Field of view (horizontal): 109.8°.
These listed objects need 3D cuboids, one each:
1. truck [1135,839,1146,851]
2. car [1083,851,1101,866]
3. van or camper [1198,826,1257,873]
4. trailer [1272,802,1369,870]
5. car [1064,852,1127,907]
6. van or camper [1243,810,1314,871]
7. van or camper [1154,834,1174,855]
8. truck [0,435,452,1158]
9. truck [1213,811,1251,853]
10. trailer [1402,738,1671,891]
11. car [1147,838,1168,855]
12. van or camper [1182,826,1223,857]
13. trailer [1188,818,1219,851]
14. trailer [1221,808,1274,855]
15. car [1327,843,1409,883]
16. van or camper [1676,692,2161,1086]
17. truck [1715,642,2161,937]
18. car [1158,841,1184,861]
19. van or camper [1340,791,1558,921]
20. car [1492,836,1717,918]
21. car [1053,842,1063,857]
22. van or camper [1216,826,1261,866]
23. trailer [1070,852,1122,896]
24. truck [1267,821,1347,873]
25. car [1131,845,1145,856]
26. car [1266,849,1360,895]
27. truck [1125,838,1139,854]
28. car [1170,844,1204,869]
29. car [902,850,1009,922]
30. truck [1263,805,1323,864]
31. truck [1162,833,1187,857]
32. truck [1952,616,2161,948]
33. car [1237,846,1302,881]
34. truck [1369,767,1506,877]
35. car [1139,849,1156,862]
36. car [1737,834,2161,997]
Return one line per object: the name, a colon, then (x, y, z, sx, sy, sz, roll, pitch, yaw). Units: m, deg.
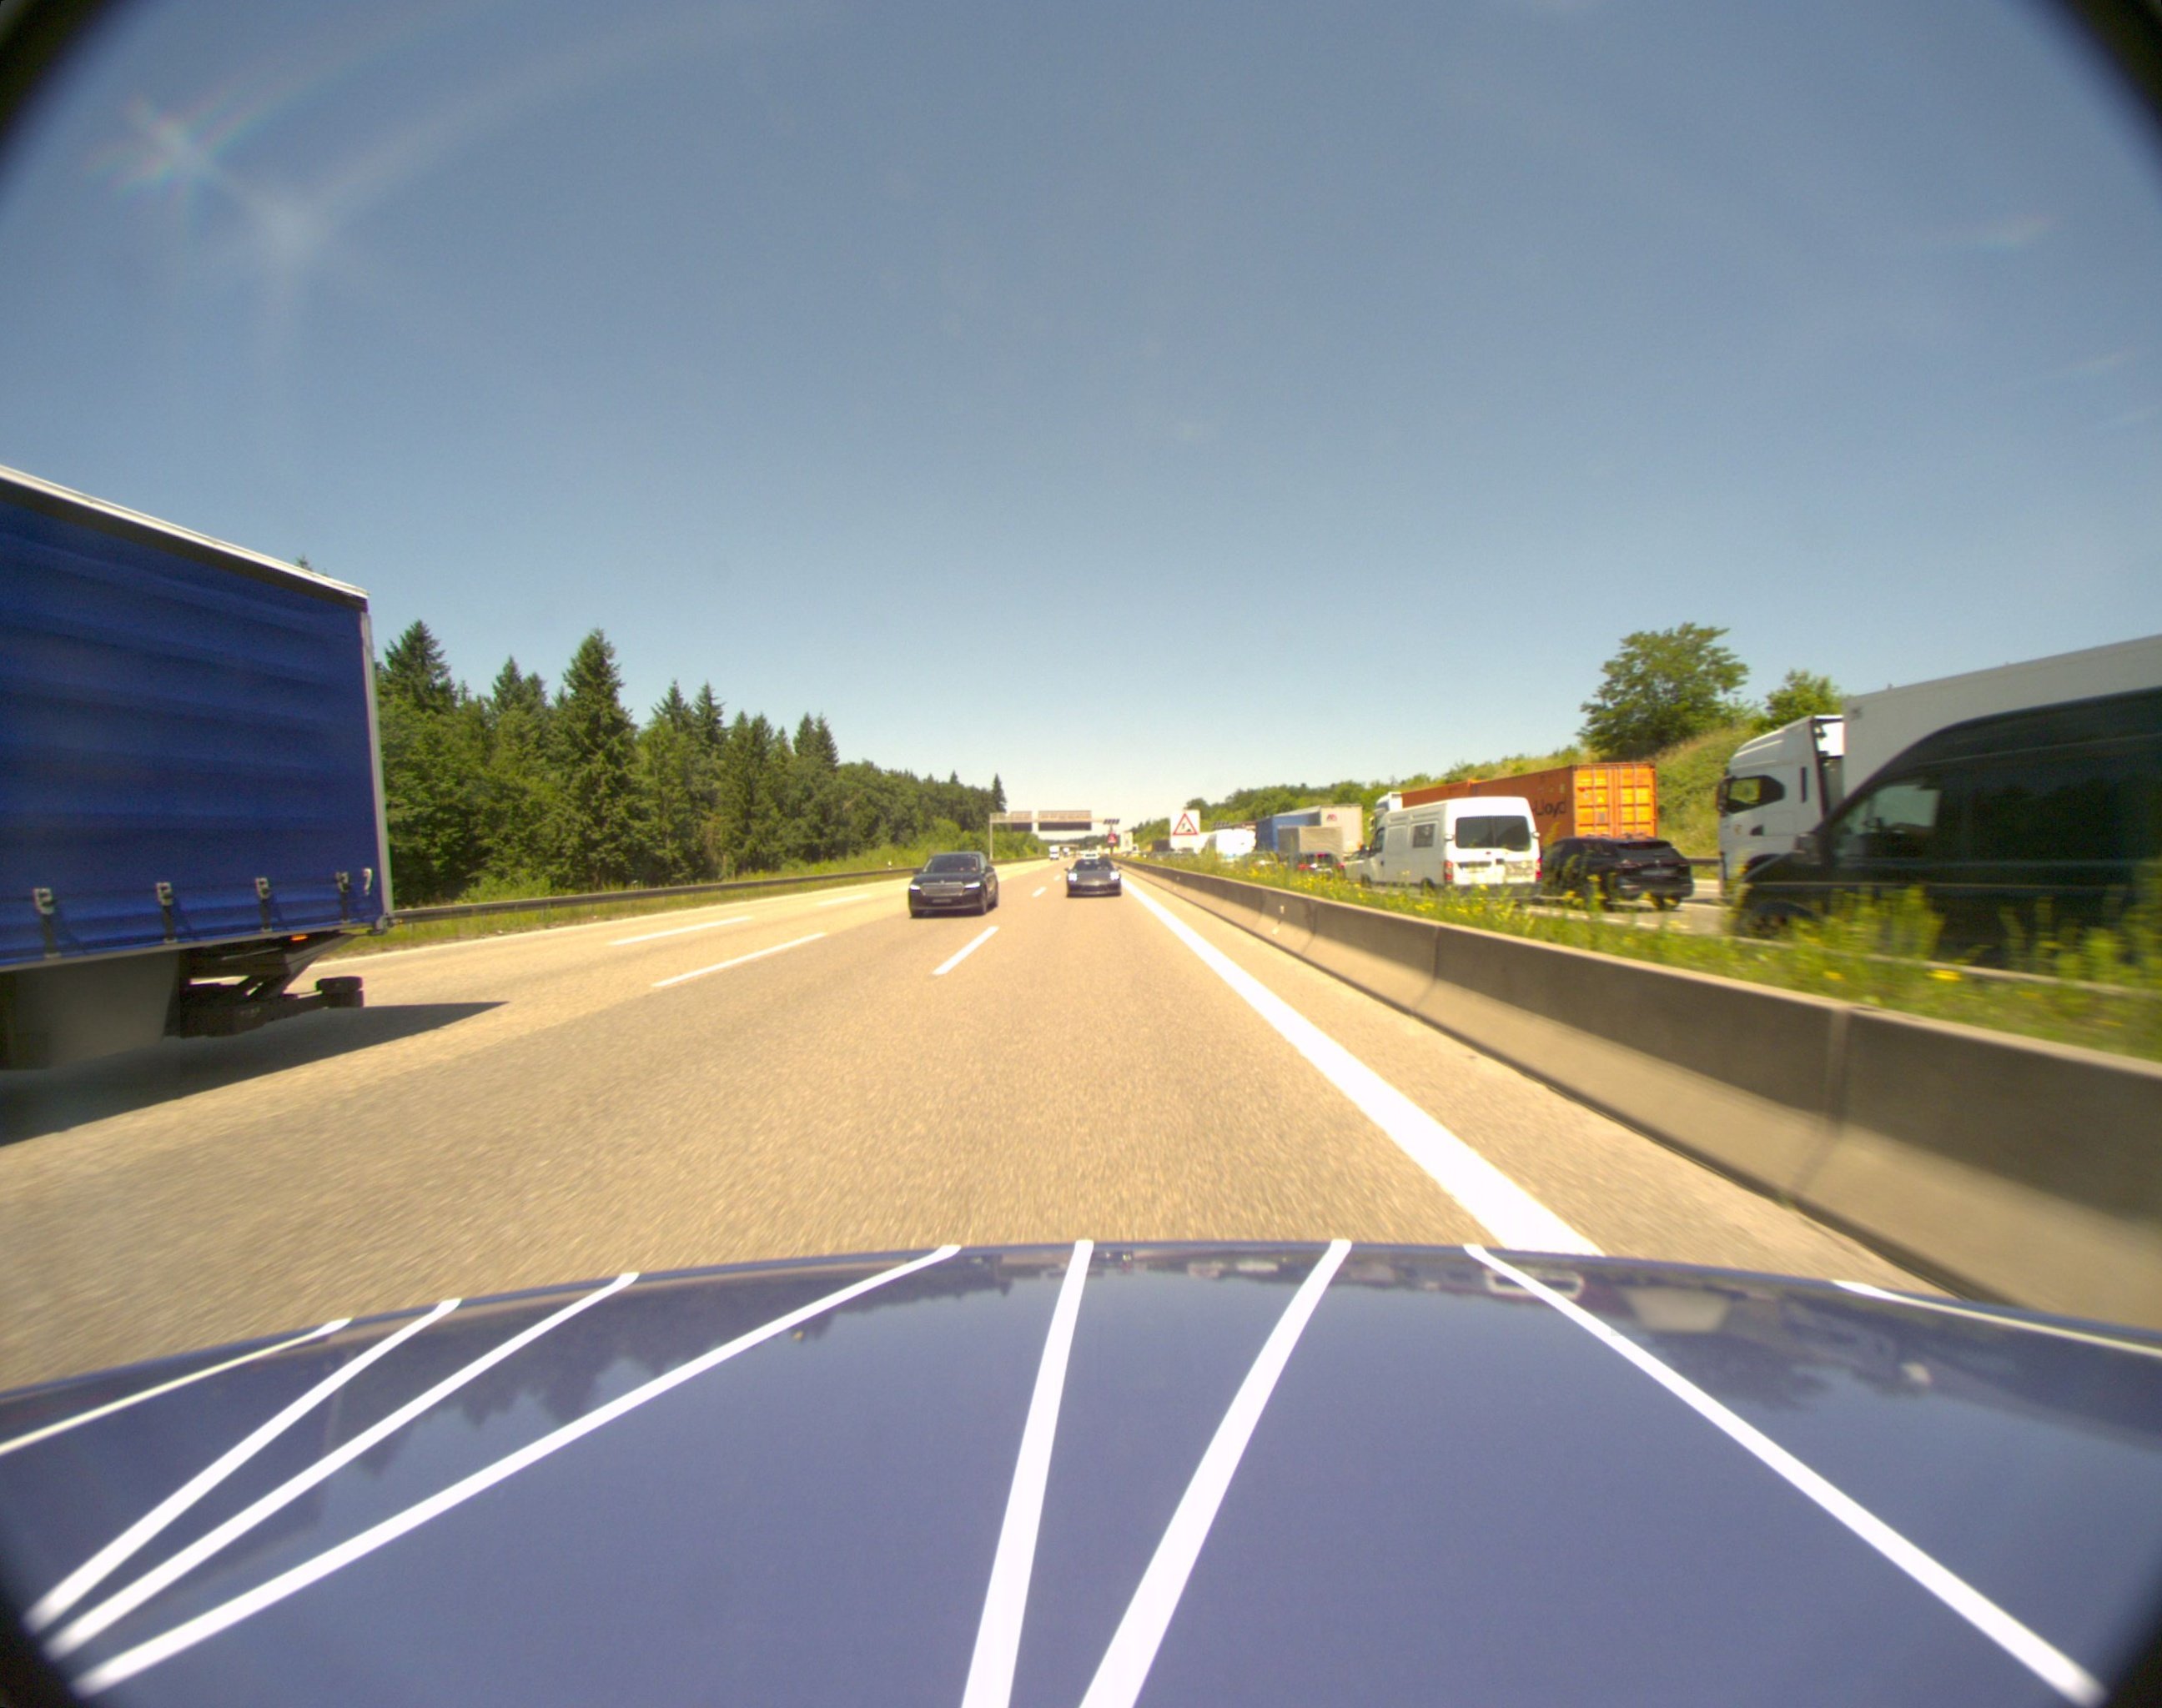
truck: (18.778, -2.881, 240.032, 2.632, 3.875, 8.953, -2, 1, 1)
car: (1.096, 0.418, 79.974, 1.719, 1.432, 4.456, -1, 1, -1)
van or camper: (8.405, -0.292, 44.183, 2.198, 2.526, 6.415, -1, 1, 0)
trailer: (15.983, -1.186, 51.957, 2.787, 4.011, 12.248, -2, 1, 1)
car: (0.469, 0.714, 23.675, 1.718, 1.432, 4.457, -2, 1, 1)
van or camper: (11.951, -0.826, 46.639, 2.318, 3.371, 7.678, -1, 1, 0)
van or camper: (13.517, -1.577, 124.746, 2.535, 3.340, 7.943, -2, 1, 2)
truck: (-7.474, -0.265, 2.401, 2.790, 4.105, 9.737, -2, 1, -1)
truck: (16.204, -2.294, 81.998, 2.788, 4.280, 7.028, -1, 1, 1)
trailer: (15.700, -1.237, 27.928, 2.618, 4.286, 11.998, -2, 1, 0)
car: (8.353, -0.834, 83.328, 1.816, 1.799, 5.542, -2, 1, 1)
van or camper: (12.332, -1.300, 77.726, 2.848, 2.931, 8.111, -2, 1, 1)
trailer: (17.003, -2.666, 106.470, 2.788, 4.280, 11.709, -1, 1, 2)
trailer: (16.116, -2.123, 74.432, 2.796, 4.216, 10.790, -2, 1, 1)
car: (11.450, 0.316, 30.557, 1.735, 1.457, 4.113, -1, 1, 0)
van or camper: (7.786, 0.191, 4.855, 2.303, 2.421, 7.282, -1, 1, 0)
truck: (15.385, -1.003, 14.155, 2.526, 4.301, 5.665, -2, 1, 2)
car: (8.359, -0.282, 70.802, 1.816, 1.720, 4.972, -2, 1, 1)
van or camper: (8.217, -0.012, 17.868, 2.198, 2.492, 6.057, -1, 1, 0)
car: (11.727, 0.420, 17.538, 1.823, 1.579, 4.882, -1, 1, 0)
car: (-5.538, -1.120, 183.471, 2.303, 3.317, 7.620, -2, 1, -1)
van or camper: (12.612, -0.675, 61.271, 2.156, 2.907, 7.223, -2, 1, 1)
trailer: (0.531, 0.665, 26.938, 1.689, 1.399, 3.046, -2, 1, 1)
truck: (11.958, -0.391, 40.760, 2.240, 2.491, 6.861, -1, 1, 0)
car: (9.031, -0.638, 120.610, 1.816, 1.624, 5.029, -2, 1, 1)
car: (8.009, 0.553, 26.751, 1.823, 1.400, 4.882, -1, 1, 0)
truck: (9.408, -1.473, 141.359, 2.125, 2.825, 6.211, -2, 1, 1)
car: (7.748, 0.133, 56.027, 1.816, 1.720, 4.934, -2, 1, 1)
car: (-3.238, 0.766, 20.541, 1.989, 1.610, 4.457, -3, 1, 1)
truck: (16.028, -1.453, 57.832, 2.808, 4.104, 6.140, -2, 1, 1)
truck: (16.971, -1.696, 138.926, 3.064, 4.197, 11.485, -2, 1, 0)
truck: (15.212, -0.906, 5.996, 2.527, 4.301, 12.420, -2, 1, 1)
car: (8.600, 0.389, 34.998, 1.906, 1.400, 4.430, -1, 1, 0)
truck: (15.721, -1.358, 34.162, 2.596, 4.301, 7.291, -2, 1, 0)
car: (9.070, 0.208, 103.780, 1.816, 1.624, 5.029, -2, 1, 1)
car: (11.568, 0.556, 9.922, 1.823, 1.579, 4.882, -1, 1, 0)
